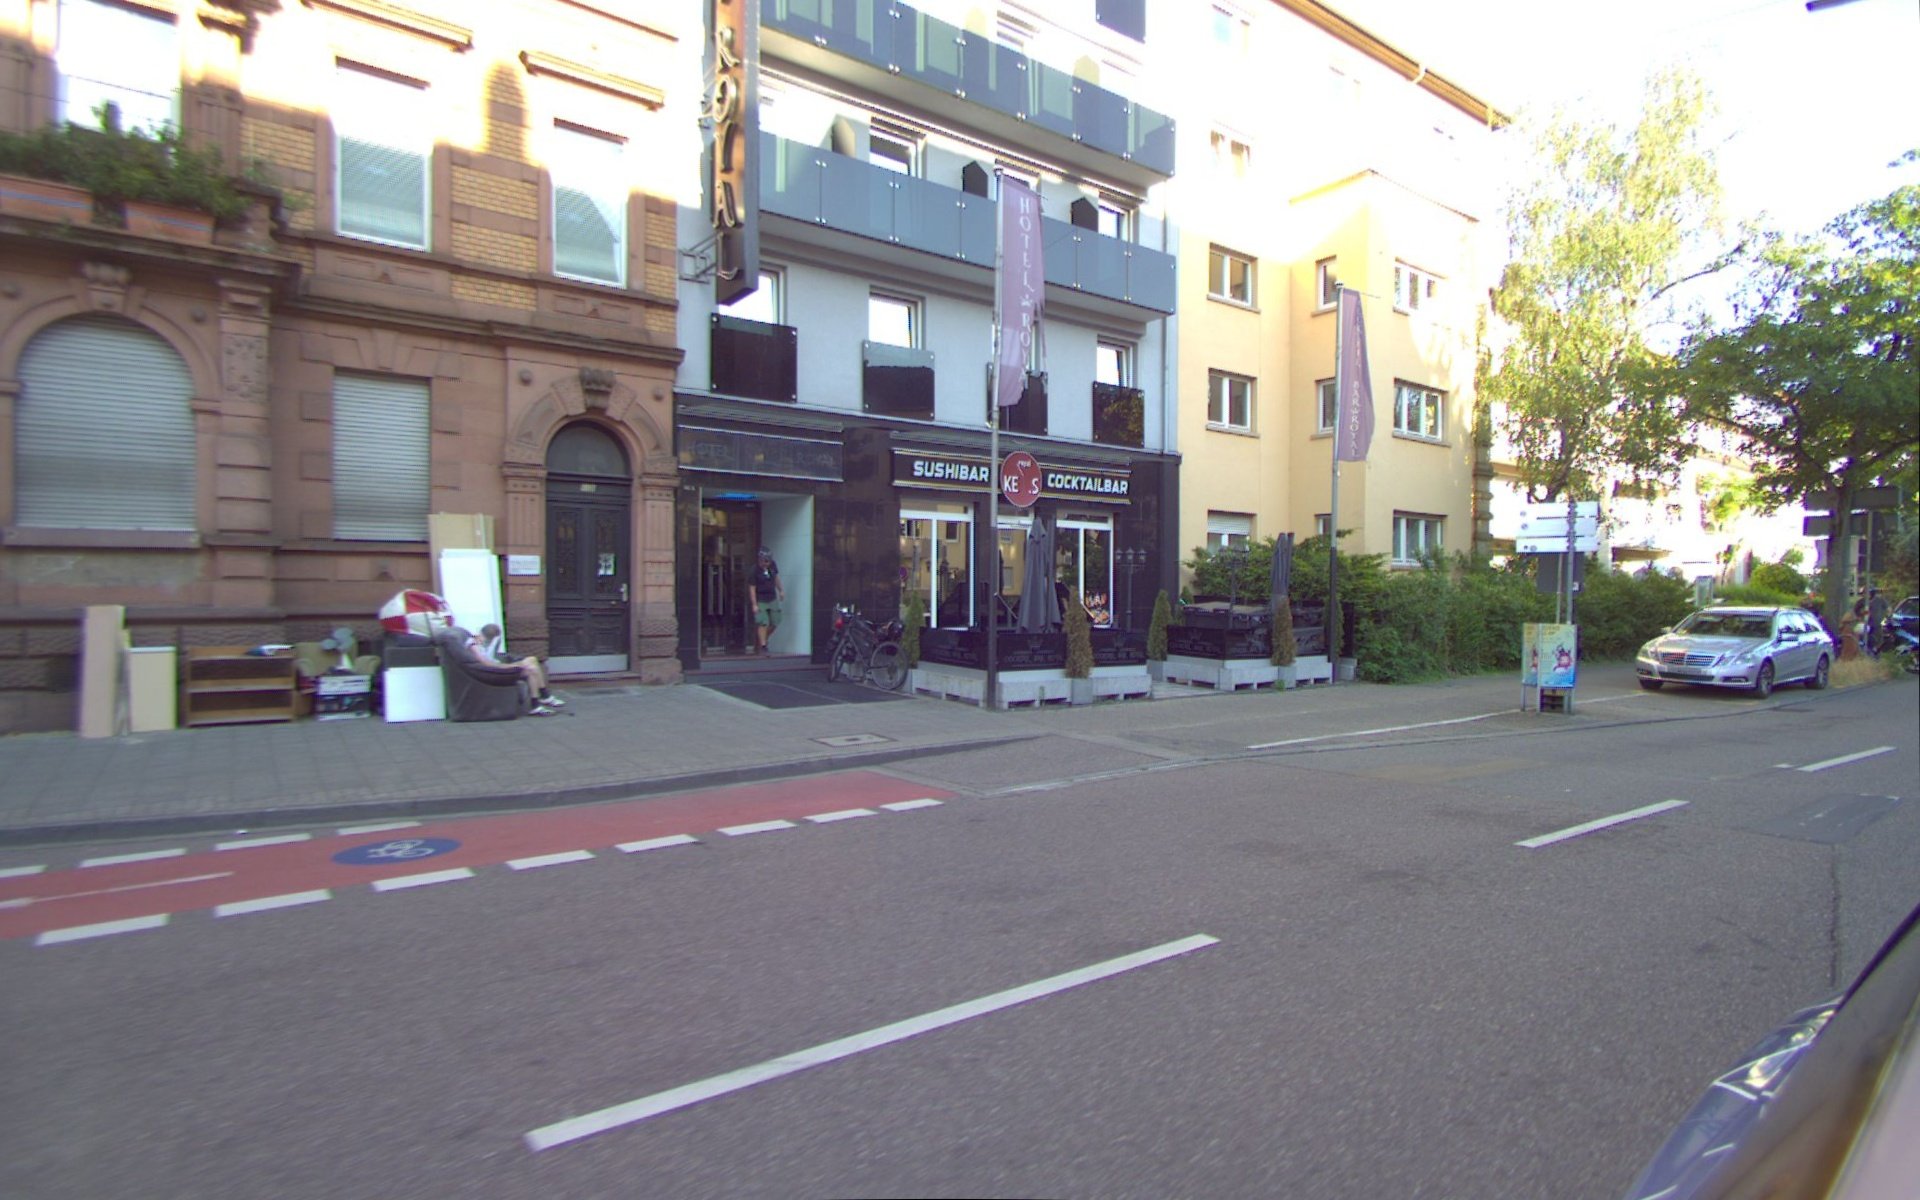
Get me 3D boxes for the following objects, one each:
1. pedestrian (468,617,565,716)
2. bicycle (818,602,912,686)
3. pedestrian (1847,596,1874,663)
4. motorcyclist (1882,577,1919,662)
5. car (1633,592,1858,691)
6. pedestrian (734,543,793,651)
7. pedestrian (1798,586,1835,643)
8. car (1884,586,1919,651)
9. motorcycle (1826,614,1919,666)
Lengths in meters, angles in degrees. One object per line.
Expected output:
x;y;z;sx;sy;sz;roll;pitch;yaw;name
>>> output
-5.095;0.742;11.628;0.926;1.056;0.693;0;0;-33;pedestrian
-1.431;0.630;15.117;1.418;1.124;0.482;3;2;37;bicycle
19.954;0.635;22.423;0.438;1.448;0.693;0;0;42;pedestrian
20.645;0.416;22.100;0.735;1.800;1.072;0;0;42;motorcyclist
14.232;0.645;18.258;4.742;1.531;1.862;0;2;-35;car
-3.126;-0.052;16.085;0.680;1.664;0.709;0;0;-37;pedestrian
25.199;0.419;29.779;0.569;1.636;0.748;0;0;-38;pedestrian
26.763;0.473;27.274;4.708;1.676;1.953;0;1;-37;car
20.418;0.862;22.378;1.924;1.084;0.808;0;0;43;motorcycle
